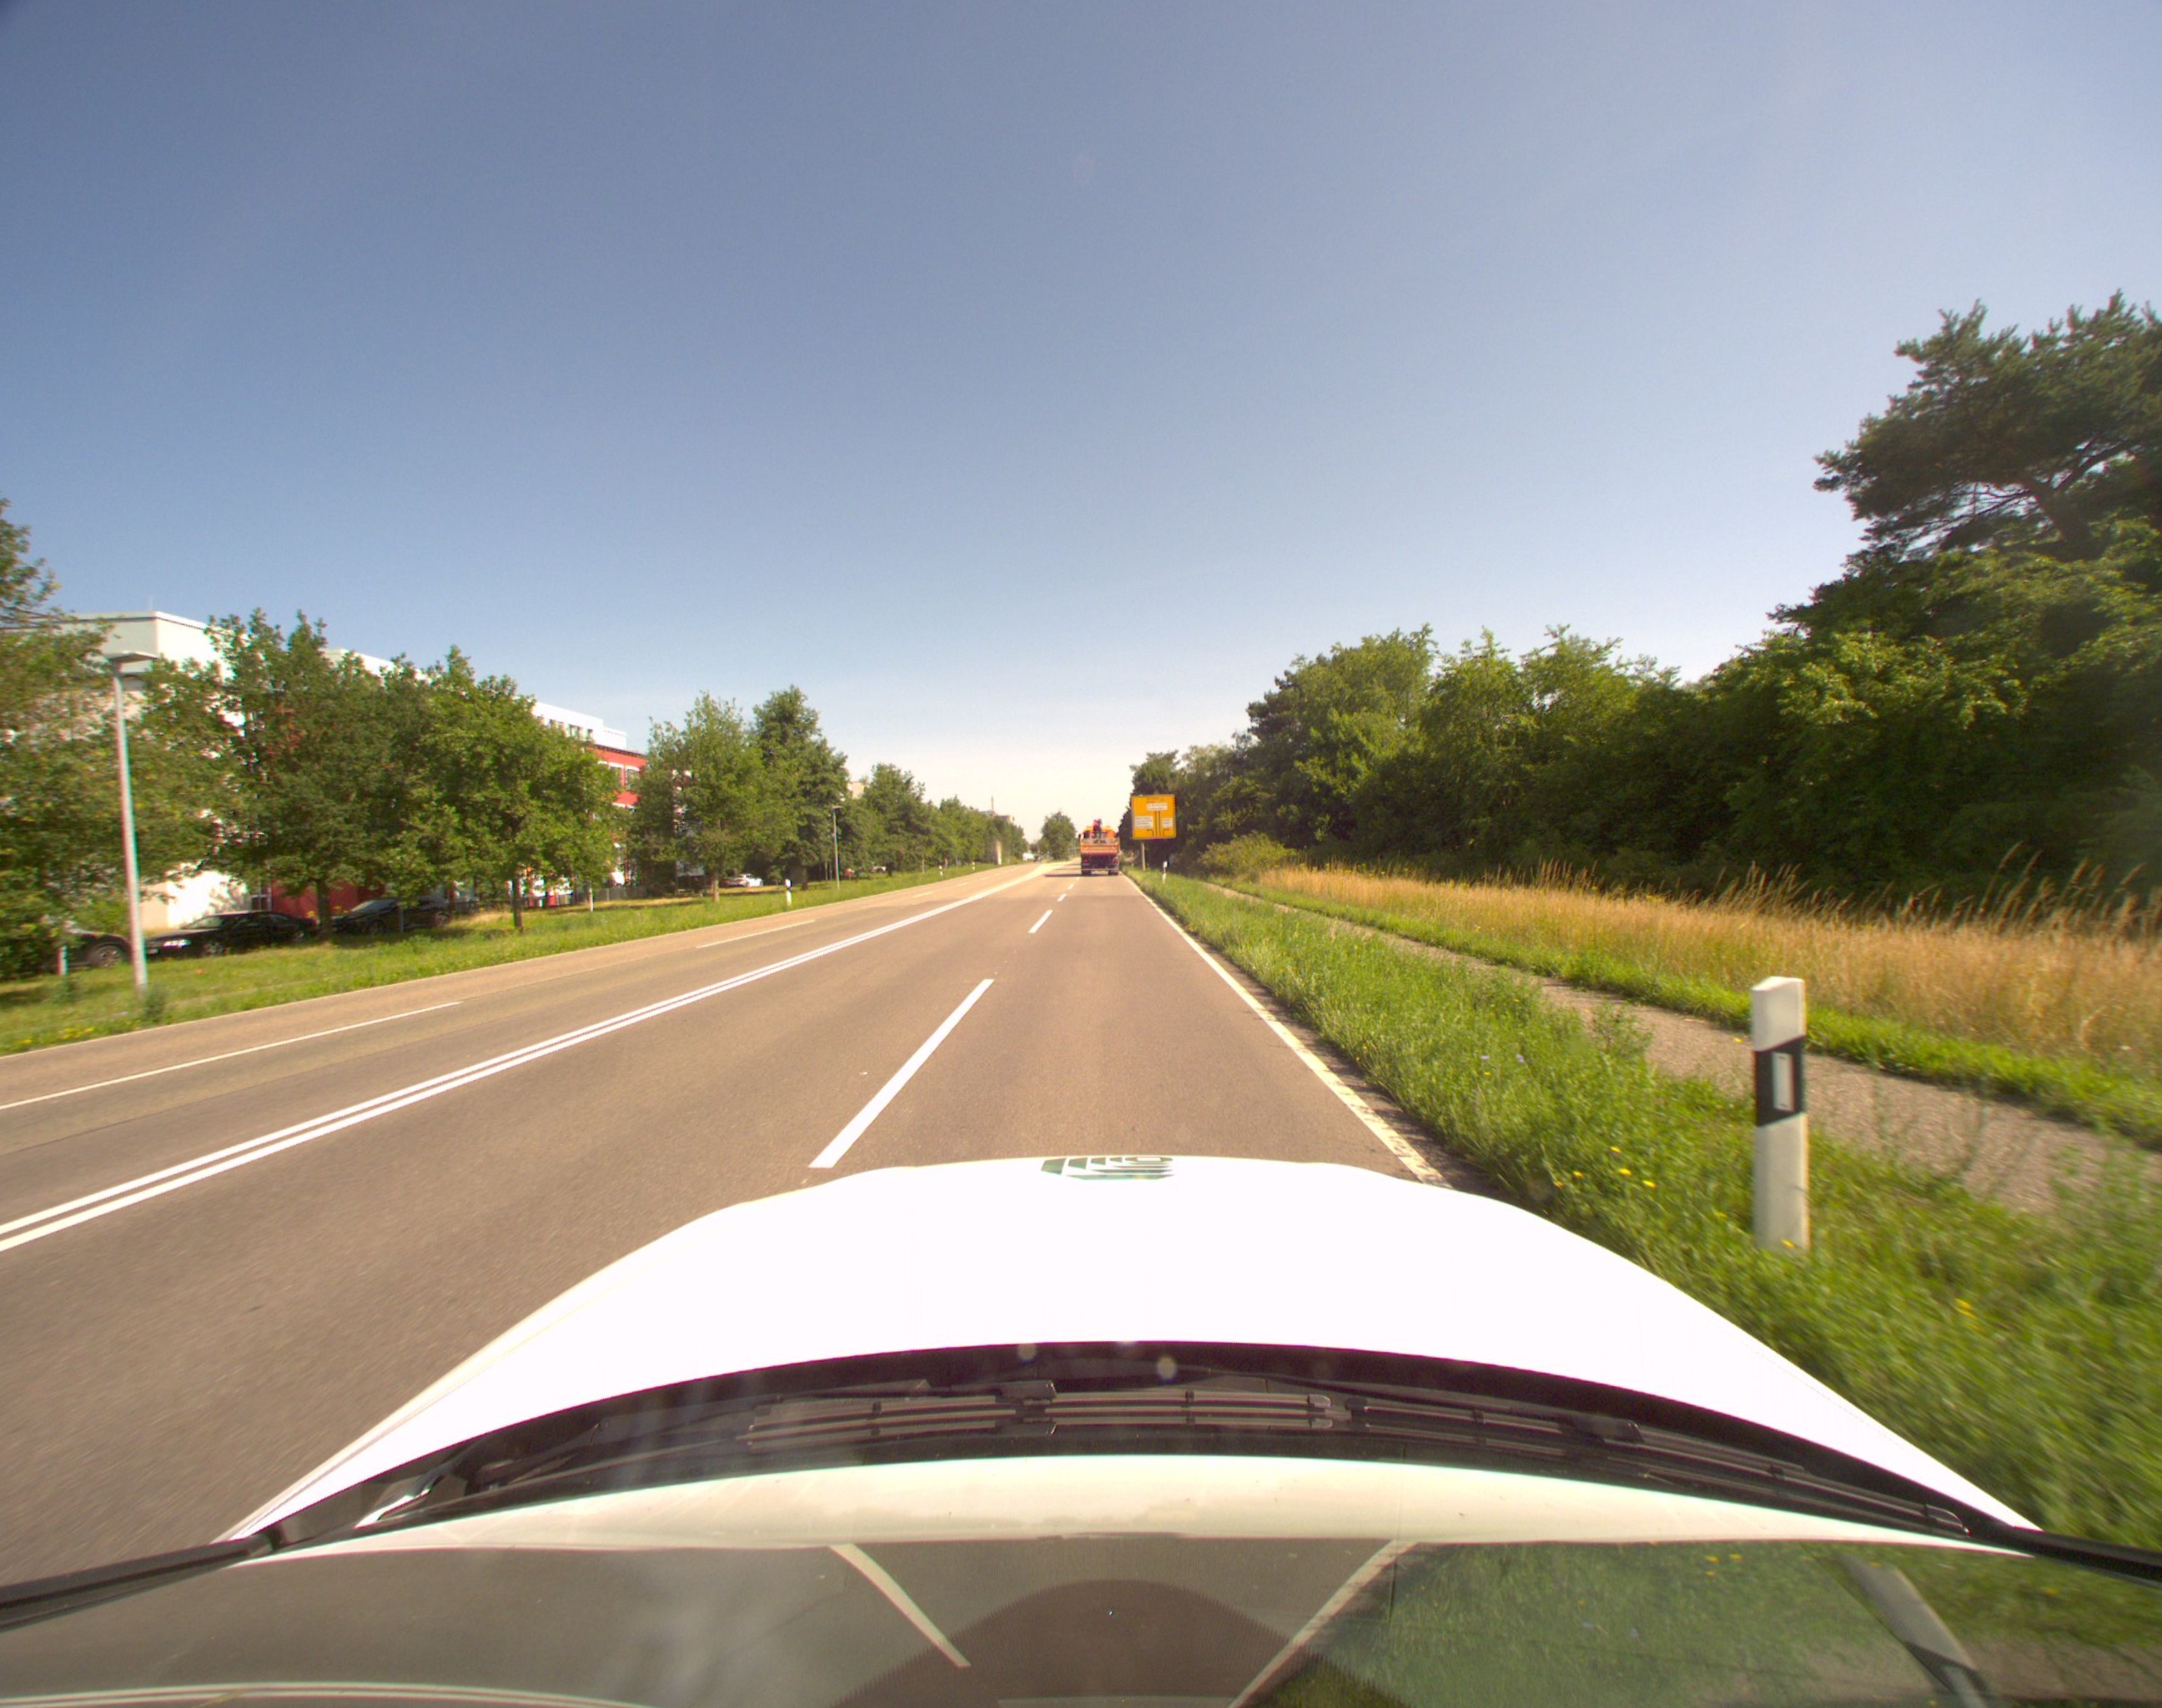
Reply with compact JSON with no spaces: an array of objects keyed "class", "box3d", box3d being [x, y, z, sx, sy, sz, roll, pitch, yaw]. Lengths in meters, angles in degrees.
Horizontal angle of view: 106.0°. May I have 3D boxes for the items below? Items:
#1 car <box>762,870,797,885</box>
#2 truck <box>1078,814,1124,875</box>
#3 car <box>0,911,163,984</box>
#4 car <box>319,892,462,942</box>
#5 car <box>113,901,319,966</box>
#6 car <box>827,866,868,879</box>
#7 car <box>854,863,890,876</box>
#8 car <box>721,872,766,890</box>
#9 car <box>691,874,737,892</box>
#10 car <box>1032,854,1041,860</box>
[{"class":"car","box3d":[-33.044,2.575,89.500,1.986,1.437,4.611,-3,0,1]},{"class":"truck","box3d":[1.276,-0.617,55.907,2.863,3.880,7.397,0,0,-1]},{"class":"car","box3d":[-27.907,2.505,21.626,1.737,1.578,4.550,-3,0,1]},{"class":"car","box3d":[-27.659,2.471,32.835,1.737,1.578,4.550,-3,0,1]},{"class":"car","box3d":[-27.864,2.497,26.505,1.737,1.578,4.550,-3,0,1]},{"class":"car","box3d":[-29.675,2.340,103.610,4.579,1.437,2.000,-3,0,0]},{"class":"car","box3d":[-29.666,2.233,115.612,4.579,1.650,2.000,-3,0,0]},{"class":"car","box3d":[-32.897,2.622,79.532,1.985,1.437,4.958,-3,0,3]},{"class":"car","box3d":[-35.505,2.758,78.966,1.985,1.437,4.958,-3,0,3]},{"class":"car","box3d":[-11.705,0.778,214.397,1.794,1.572,4.001,-3,0,1]}]
